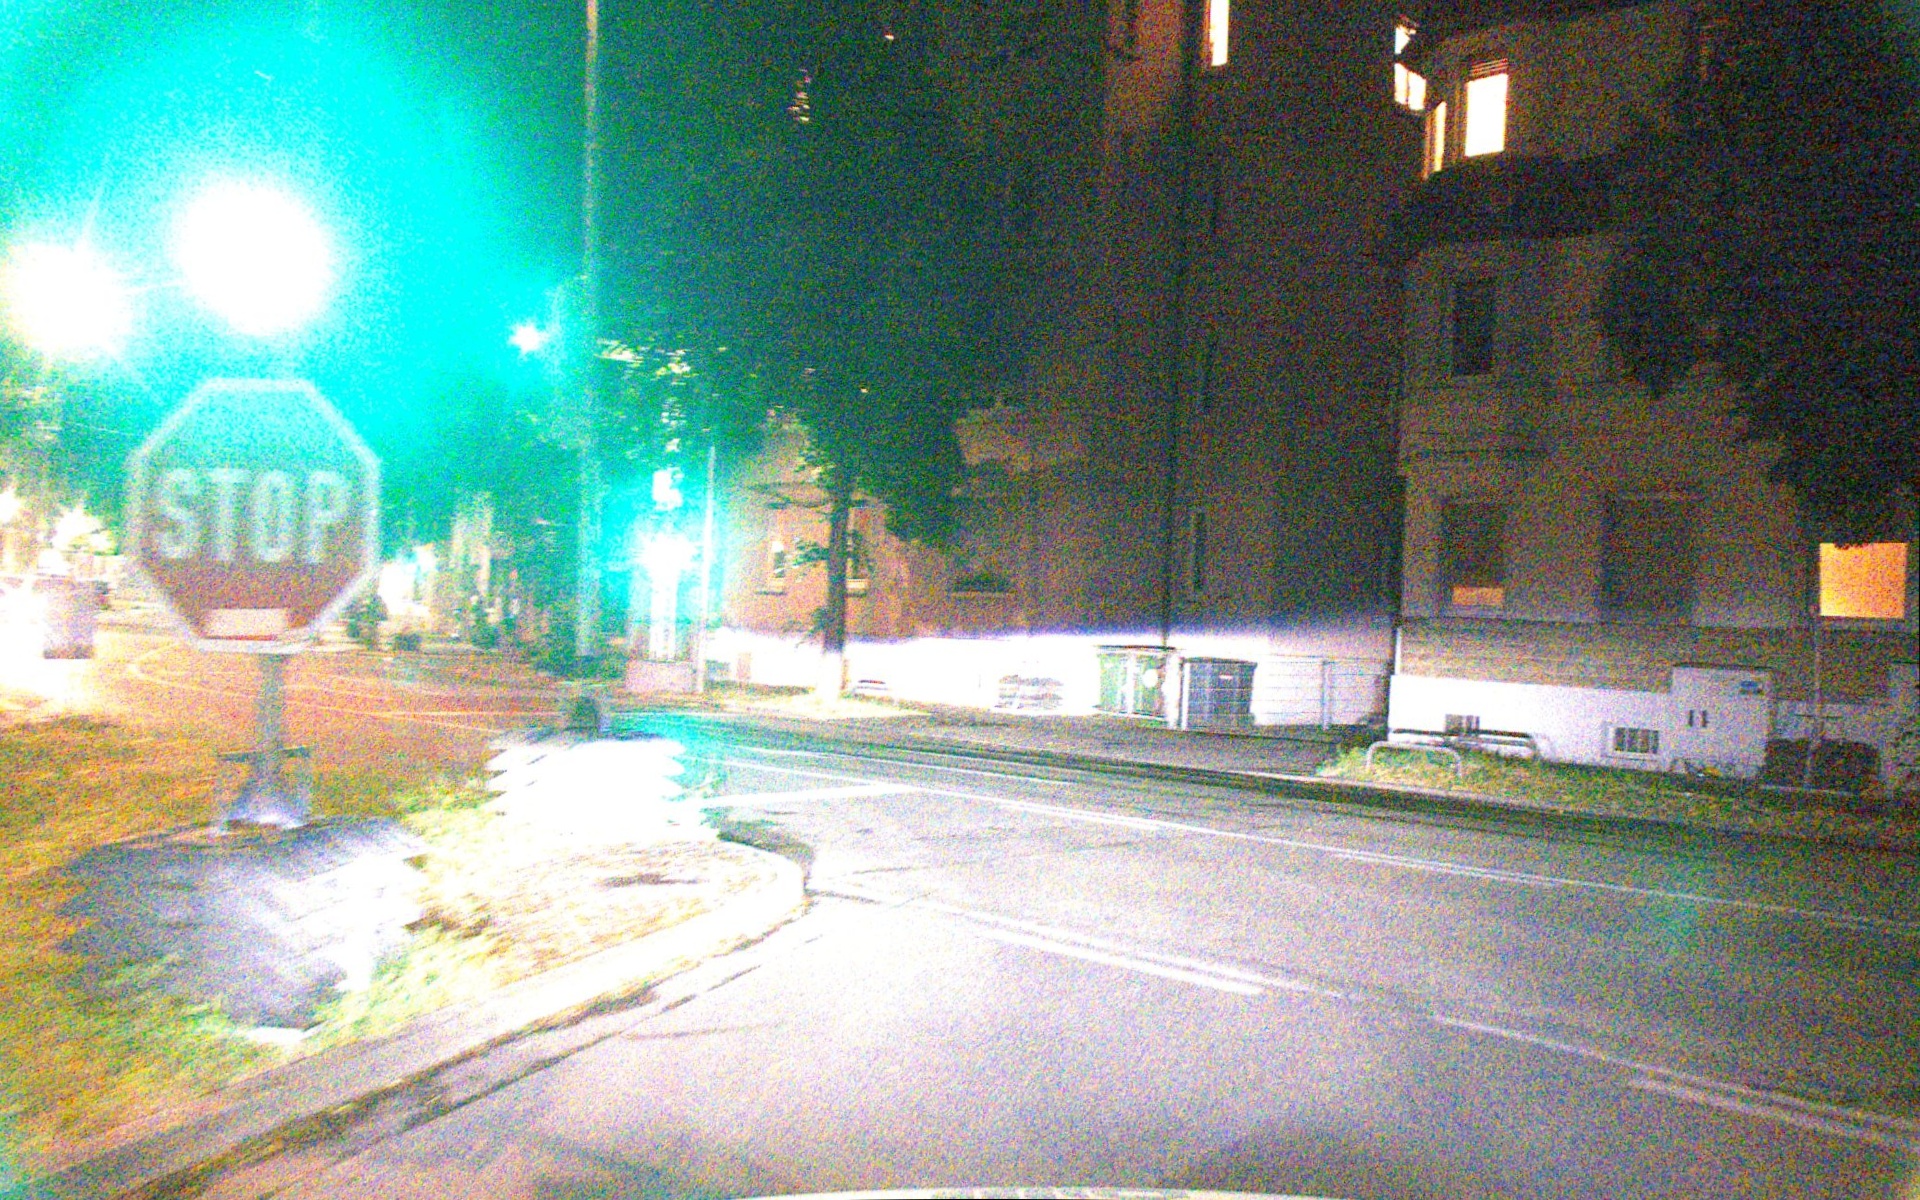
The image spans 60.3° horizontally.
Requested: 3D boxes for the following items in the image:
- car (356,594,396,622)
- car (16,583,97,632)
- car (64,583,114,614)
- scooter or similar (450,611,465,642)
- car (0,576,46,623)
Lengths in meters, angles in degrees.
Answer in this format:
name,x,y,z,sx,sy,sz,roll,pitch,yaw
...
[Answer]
name,x,y,z,sx,sy,sz,roll,pitch,yaw
car,-34.576,0.447,97.881,1.712,1.485,4.689,4,-1,-25
car,-28.762,0.235,52.774,1.691,1.454,3.975,2,0,-21
car,-44.469,-0.093,84.515,1.760,1.440,4.097,5,-2,-23
scooter or similar,-19.380,1.016,63.838,0.414,1.150,1.488,3,-1,-14
car,-34.515,-0.057,59.757,1.758,1.517,4.304,6,-2,-19
